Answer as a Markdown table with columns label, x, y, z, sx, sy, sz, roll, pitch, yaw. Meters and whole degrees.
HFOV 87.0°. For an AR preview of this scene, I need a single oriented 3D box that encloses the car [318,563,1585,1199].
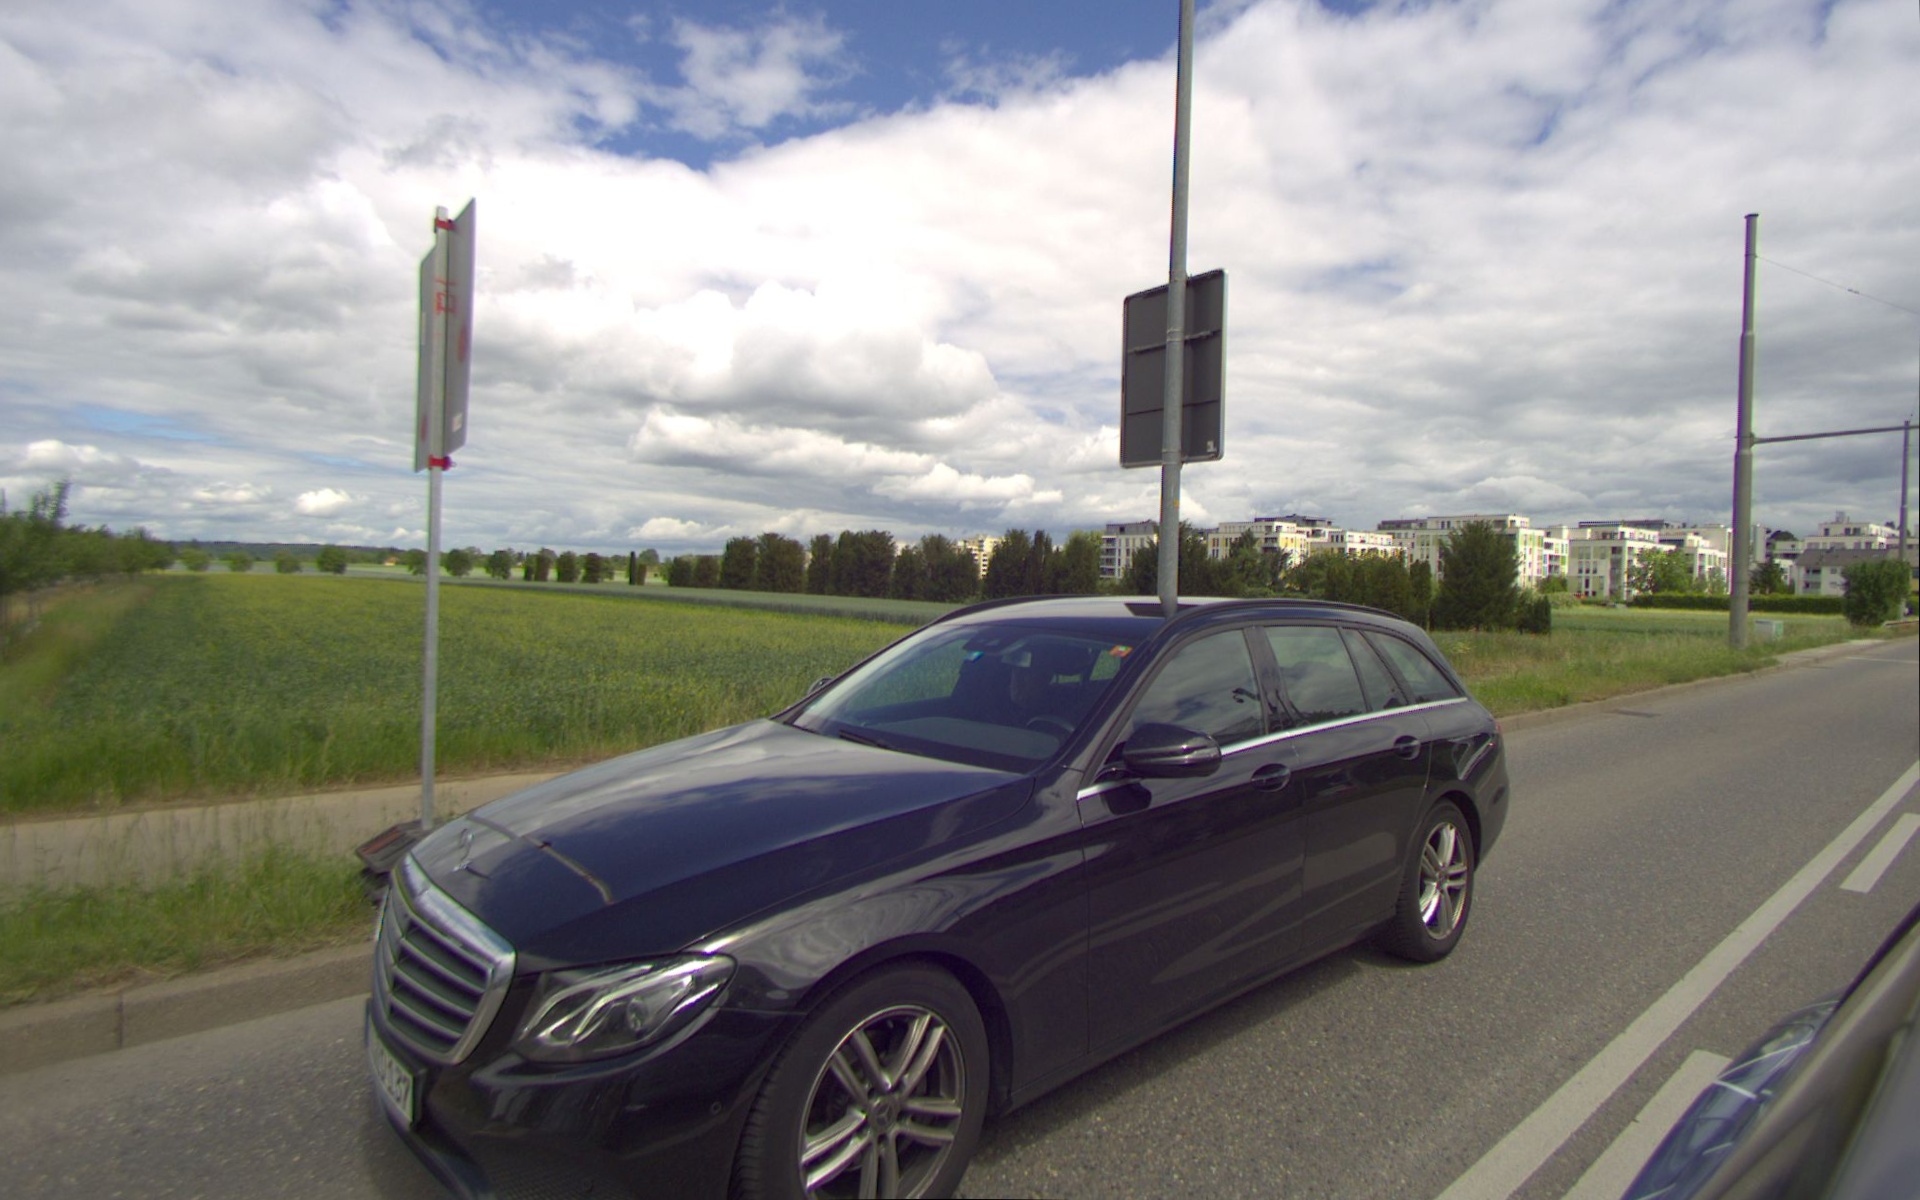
| label | x | y | z | sx | sy | sz | roll | pitch | yaw |
| --- | --- | --- | --- | --- | --- | --- | --- | --- | --- |
| car | 0.606 | 0.658 | 4.038 | 5.111 | 1.458 | 1.875 | 0 | 2 | -43 |
